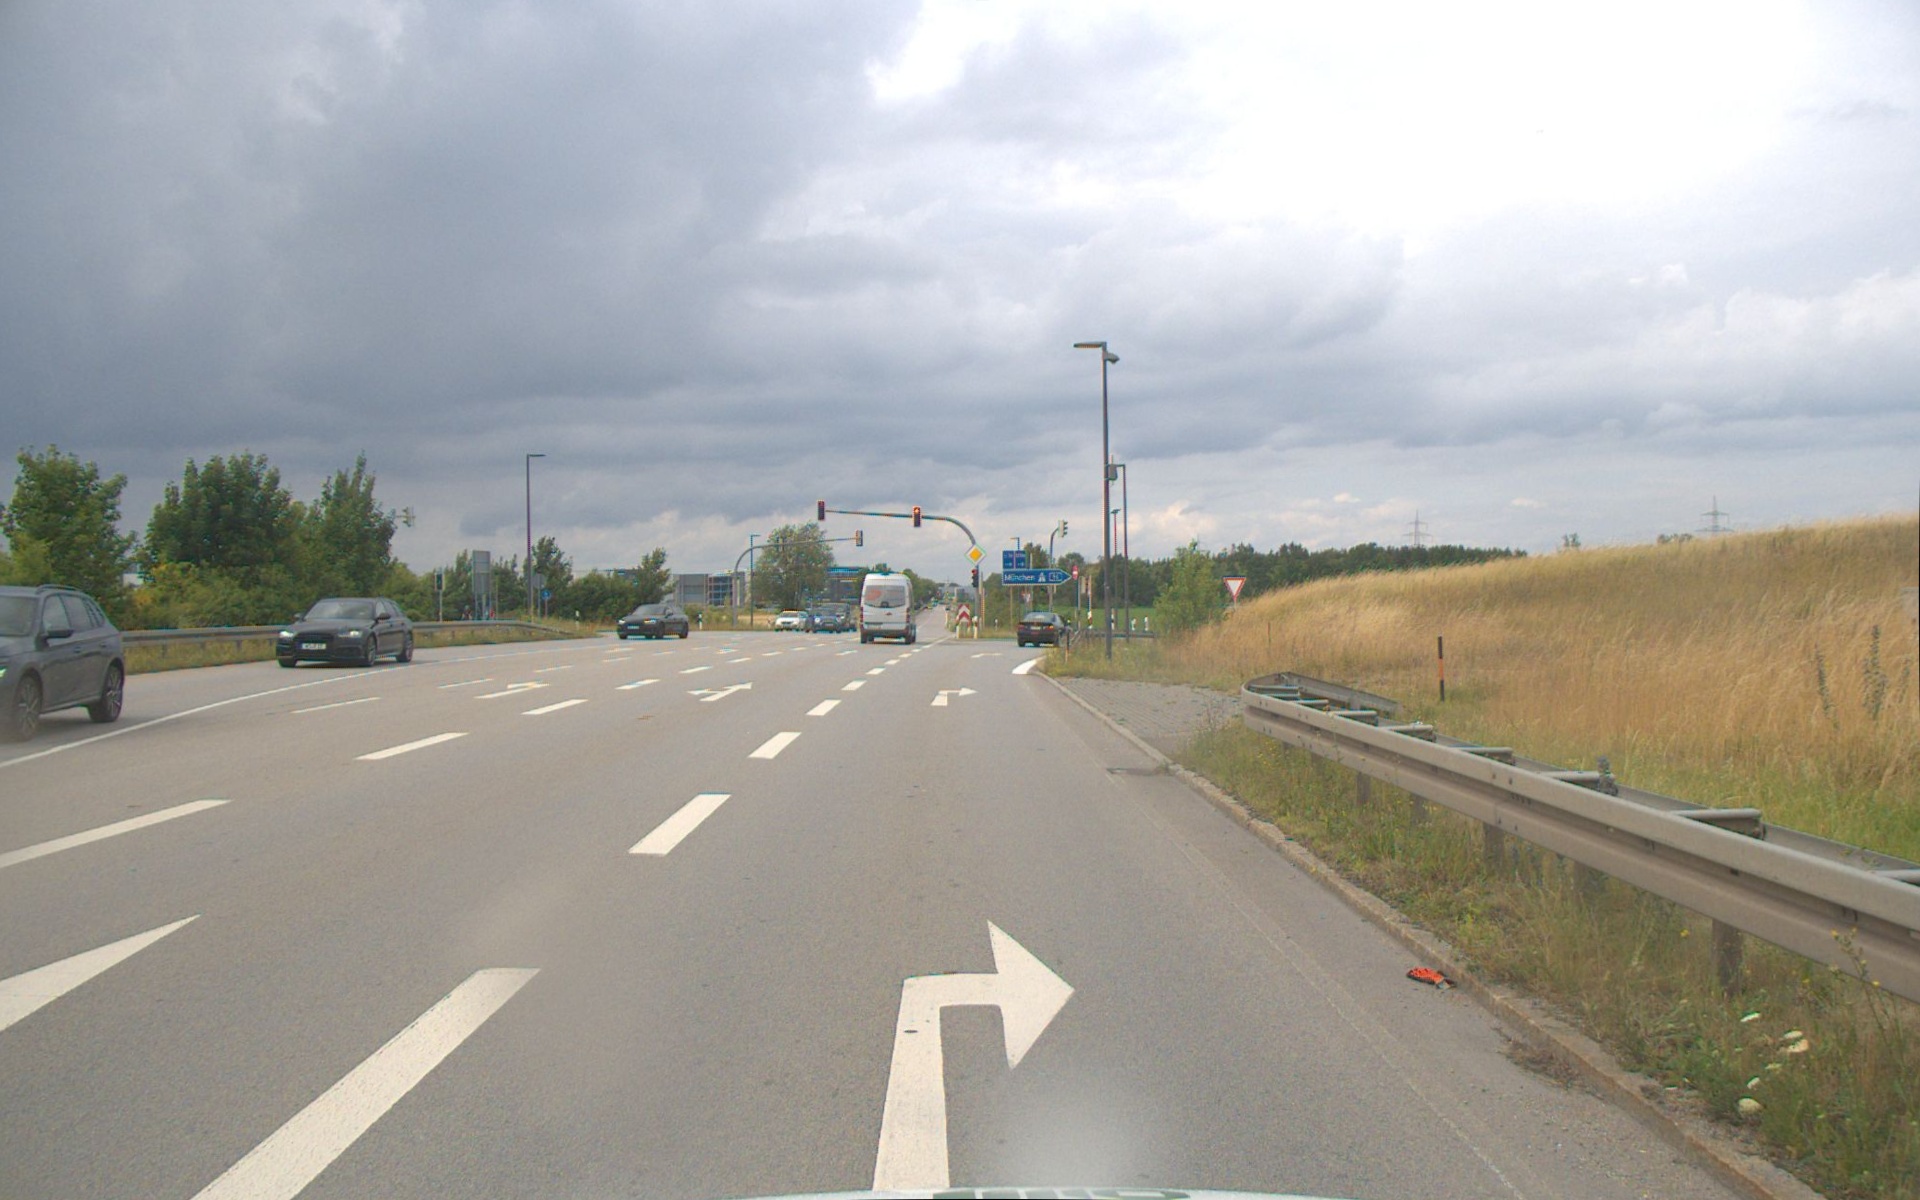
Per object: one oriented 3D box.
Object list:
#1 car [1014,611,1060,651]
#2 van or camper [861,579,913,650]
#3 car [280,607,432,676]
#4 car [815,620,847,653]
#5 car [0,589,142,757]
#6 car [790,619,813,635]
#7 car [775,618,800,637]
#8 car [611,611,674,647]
[{"bbox_3d":[3.038,1.191,64.911,1.486,1.511,3.618,-1,0,7],"label":"car"},{"bbox_3d":[-2.785,0.555,63.767,1.838,2.626,3.999,1,0,-1],"label":"van or camper"},{"bbox_3d":[-12.956,0.841,35.784,1.772,1.392,4.782,0,0,-3],"label":"car"},{"bbox_3d":[-7.690,2.134,98.073,1.607,1.884,3.741,-1,0,-9],"label":"car"},{"bbox_3d":[-10.102,0.696,17.500,1.554,1.585,4.134,0,0,-11],"label":"car"},{"bbox_3d":[-12.335,2.089,129.076,1.450,1.199,3.533,-1,0,0],"label":"car"},{"bbox_3d":[-12.540,1.999,120.240,1.450,1.305,3.533,-1,0,0],"label":"car"},{"bbox_3d":[-13.085,1.200,68.310,1.806,1.450,3.908,-1,-1,0],"label":"car"}]
